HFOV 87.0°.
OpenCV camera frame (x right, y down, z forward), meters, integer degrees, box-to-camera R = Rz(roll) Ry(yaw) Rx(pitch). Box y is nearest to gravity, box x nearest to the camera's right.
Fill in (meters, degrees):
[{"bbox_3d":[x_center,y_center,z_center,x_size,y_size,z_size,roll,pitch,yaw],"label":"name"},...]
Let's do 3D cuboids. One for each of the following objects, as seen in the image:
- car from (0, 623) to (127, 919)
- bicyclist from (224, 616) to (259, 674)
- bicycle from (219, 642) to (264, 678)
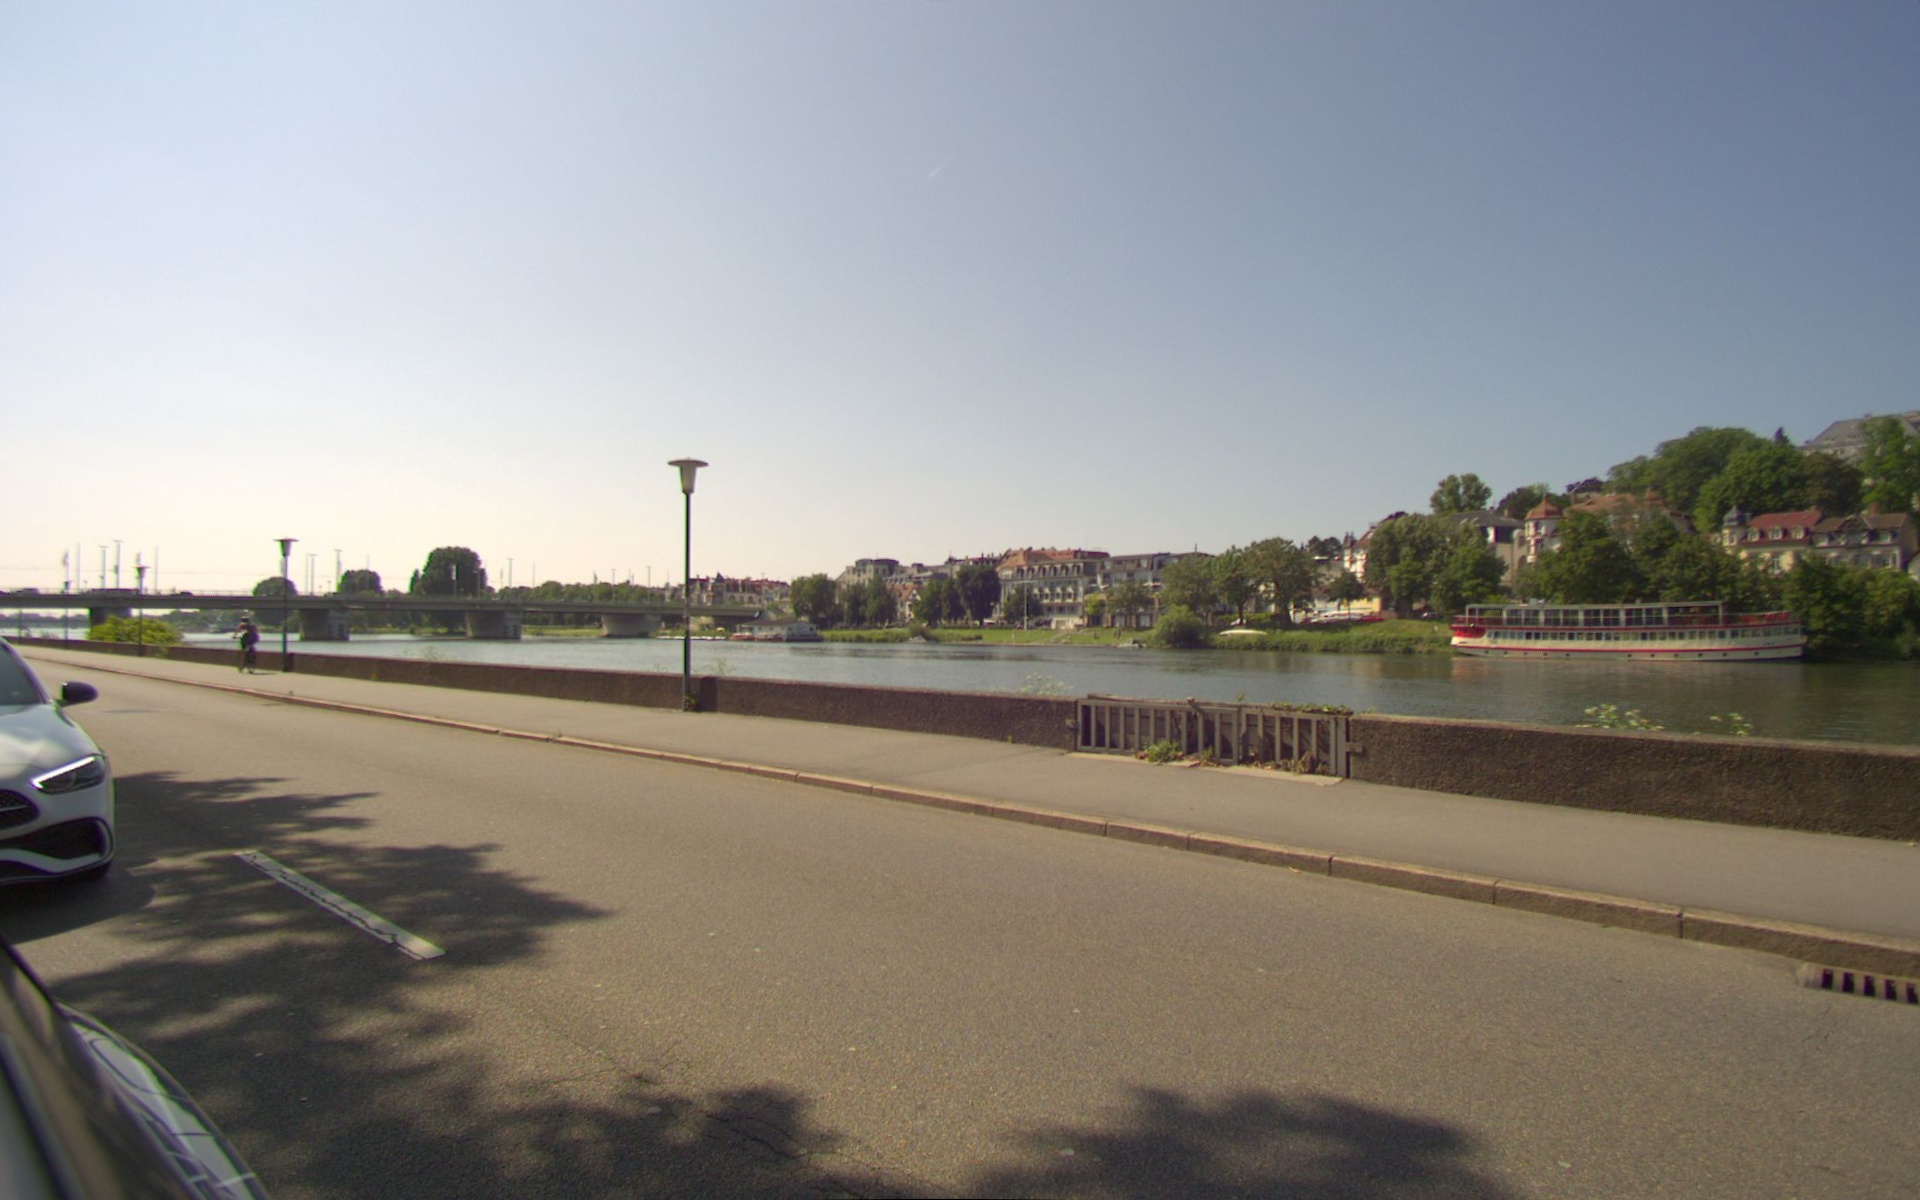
[{"bbox_3d":[-6.644,0.886,6.134,4.551,1.430,1.806,-2,-1,42],"label":"car"},{"bbox_3d":[-21.313,1.334,30.025,0.870,1.686,0.631,-2,-3,41],"label":"bicyclist"},{"bbox_3d":[-21.295,1.751,29.985,1.984,1.019,0.626,-2,-3,41],"label":"bicycle"}]
